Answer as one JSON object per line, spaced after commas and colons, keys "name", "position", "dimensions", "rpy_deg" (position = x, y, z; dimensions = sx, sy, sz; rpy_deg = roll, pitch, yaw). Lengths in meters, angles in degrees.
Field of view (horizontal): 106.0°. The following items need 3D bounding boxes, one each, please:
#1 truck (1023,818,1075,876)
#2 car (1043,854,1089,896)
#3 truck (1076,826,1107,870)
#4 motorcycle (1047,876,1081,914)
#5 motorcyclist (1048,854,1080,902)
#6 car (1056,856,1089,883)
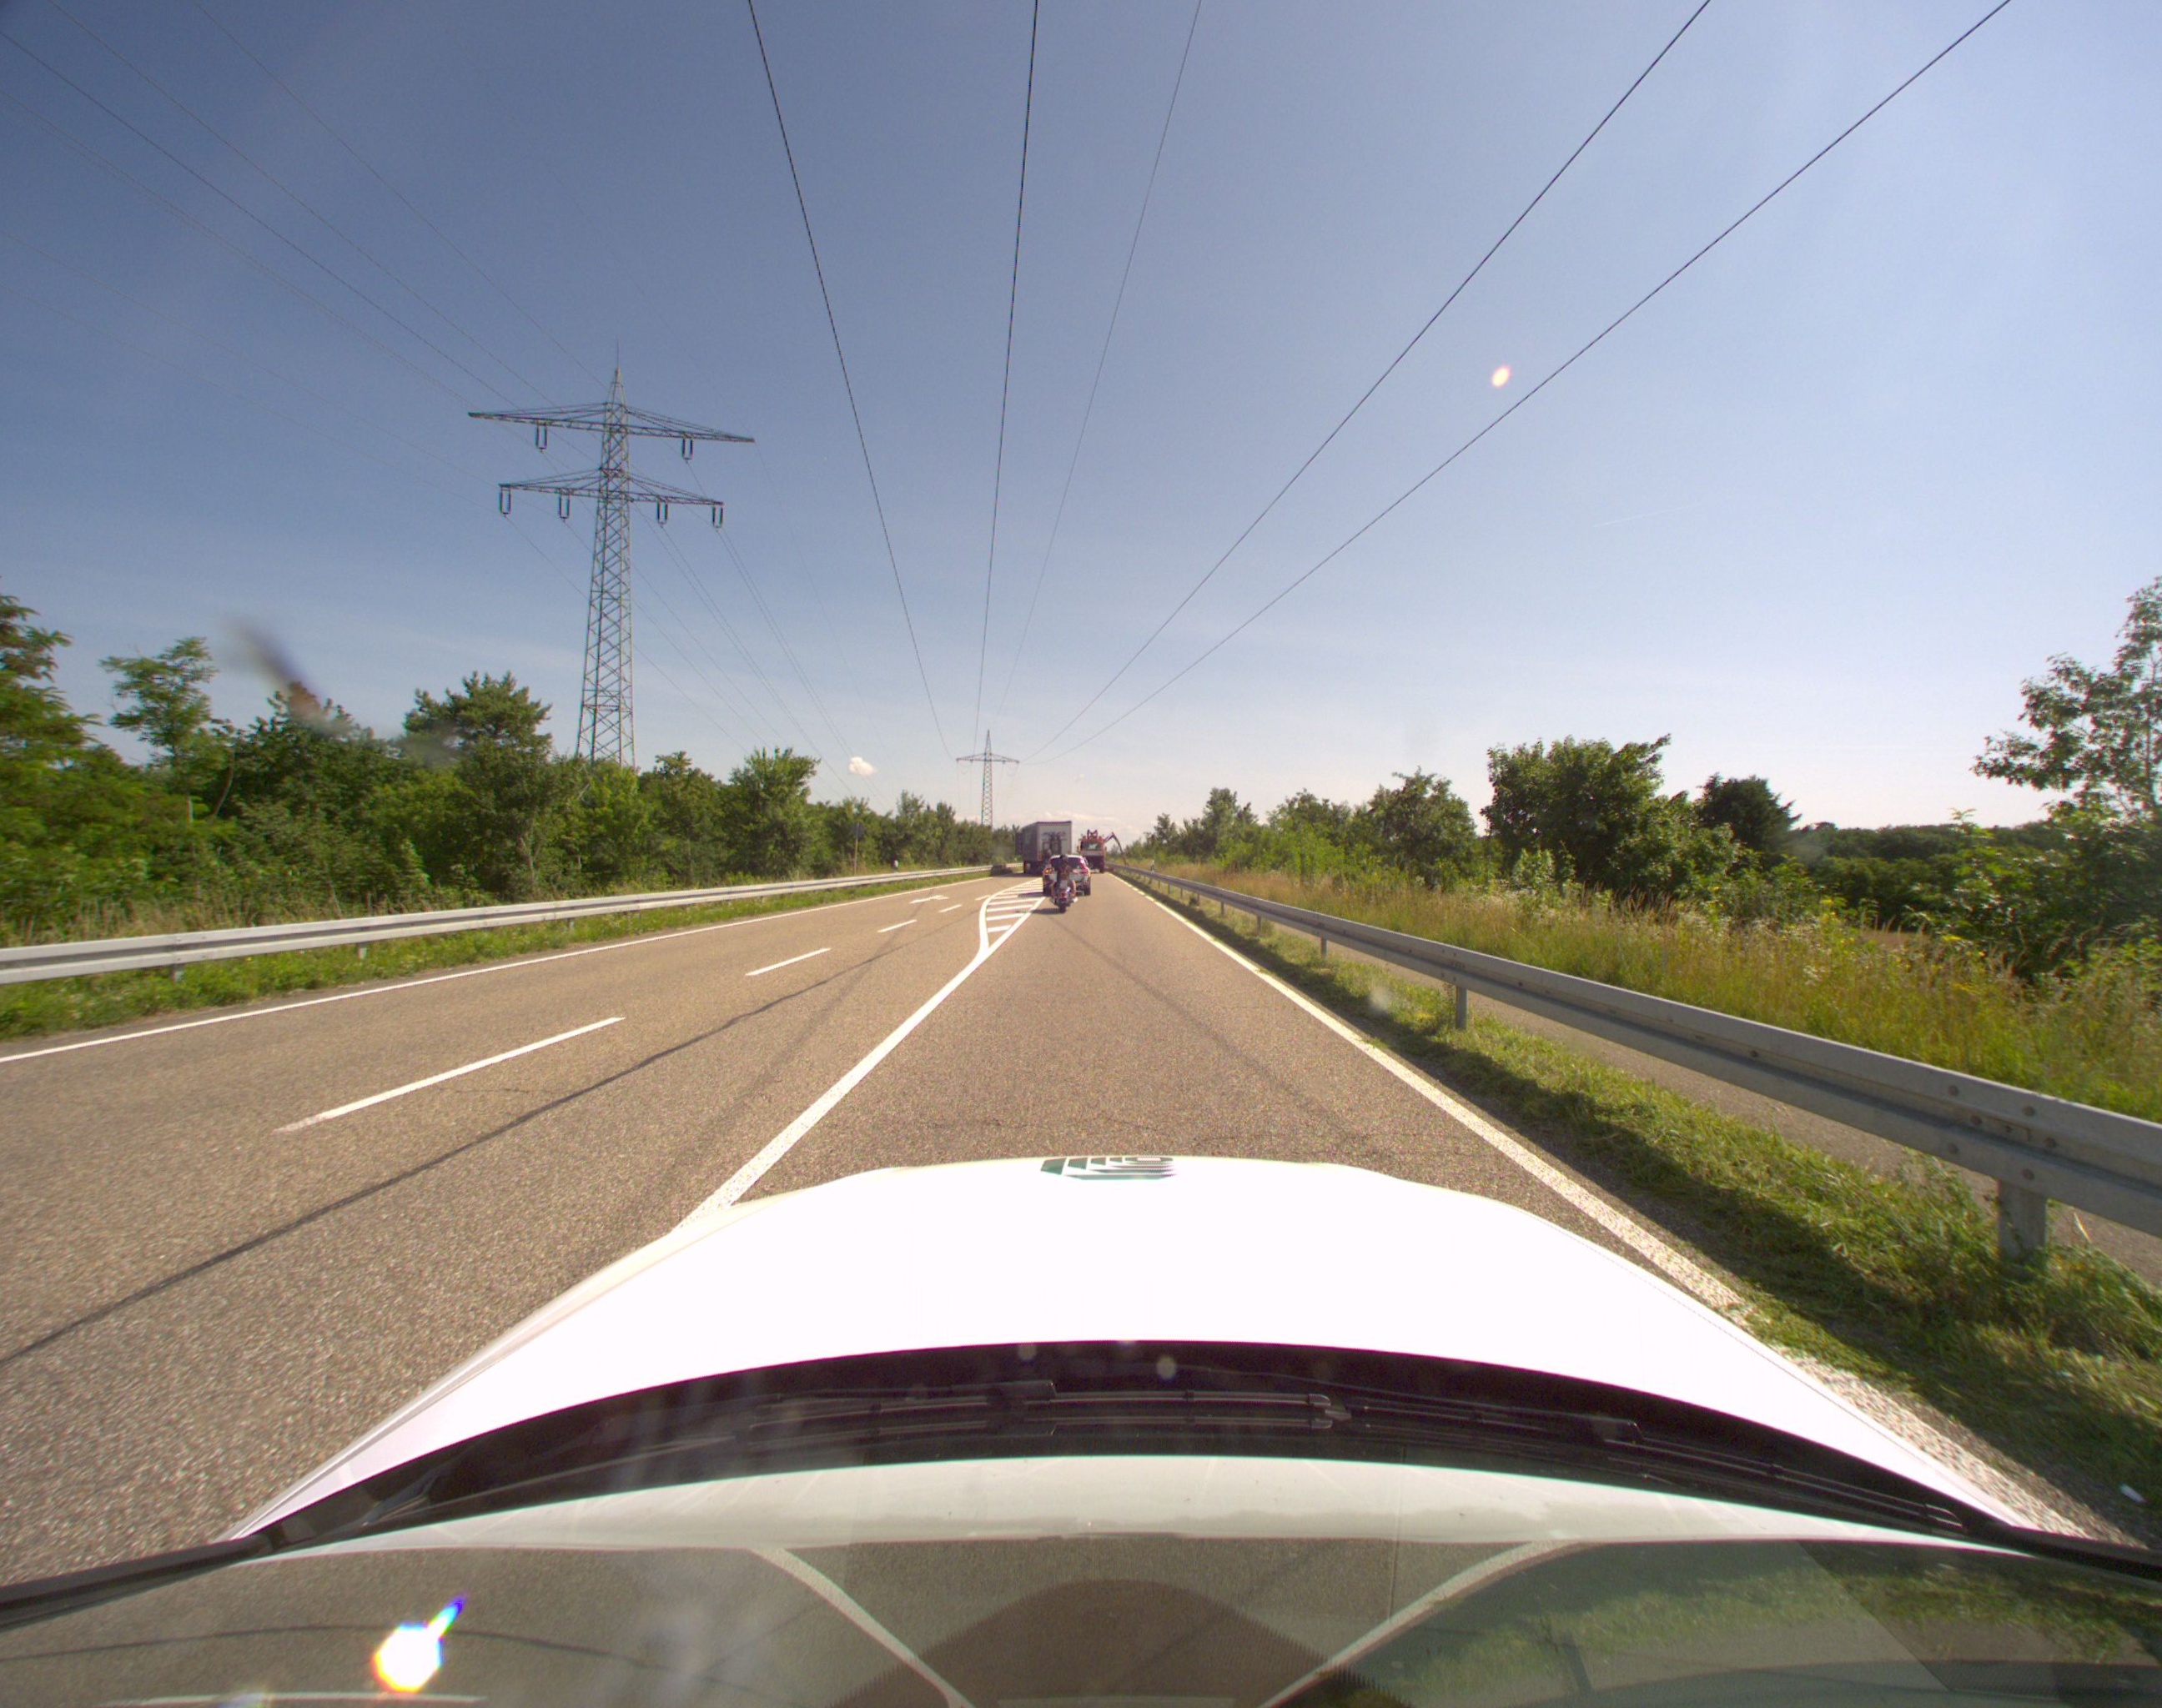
{"name": "truck", "position": [-2.880, -0.500, 66.624], "dimensions": [2.965, 4.187, 14.783], "rpy_deg": [0, 0, -7]}
{"name": "car", "position": [-0.592, 0.784, 31.772], "dimensions": [1.696, 1.536, 3.497], "rpy_deg": [0, 0, -1]}
{"name": "truck", "position": [0.854, -0.536, 72.213], "dimensions": [2.606, 3.711, 6.775], "rpy_deg": [0, 0, 0]}
{"name": "motorcycle", "position": [-0.468, 1.083, 22.237], "dimensions": [0.856, 0.915, 2.226], "rpy_deg": [-1, 0, -1]}
{"name": "motorcyclist", "position": [-0.462, 0.633, 22.262], "dimensions": [0.835, 1.280, 0.919], "rpy_deg": [0, 0, -2]}
{"name": "car", "position": [-0.502, 0.870, 47.847], "dimensions": [1.849, 1.490, 3.739], "rpy_deg": [0, 0, -1]}
